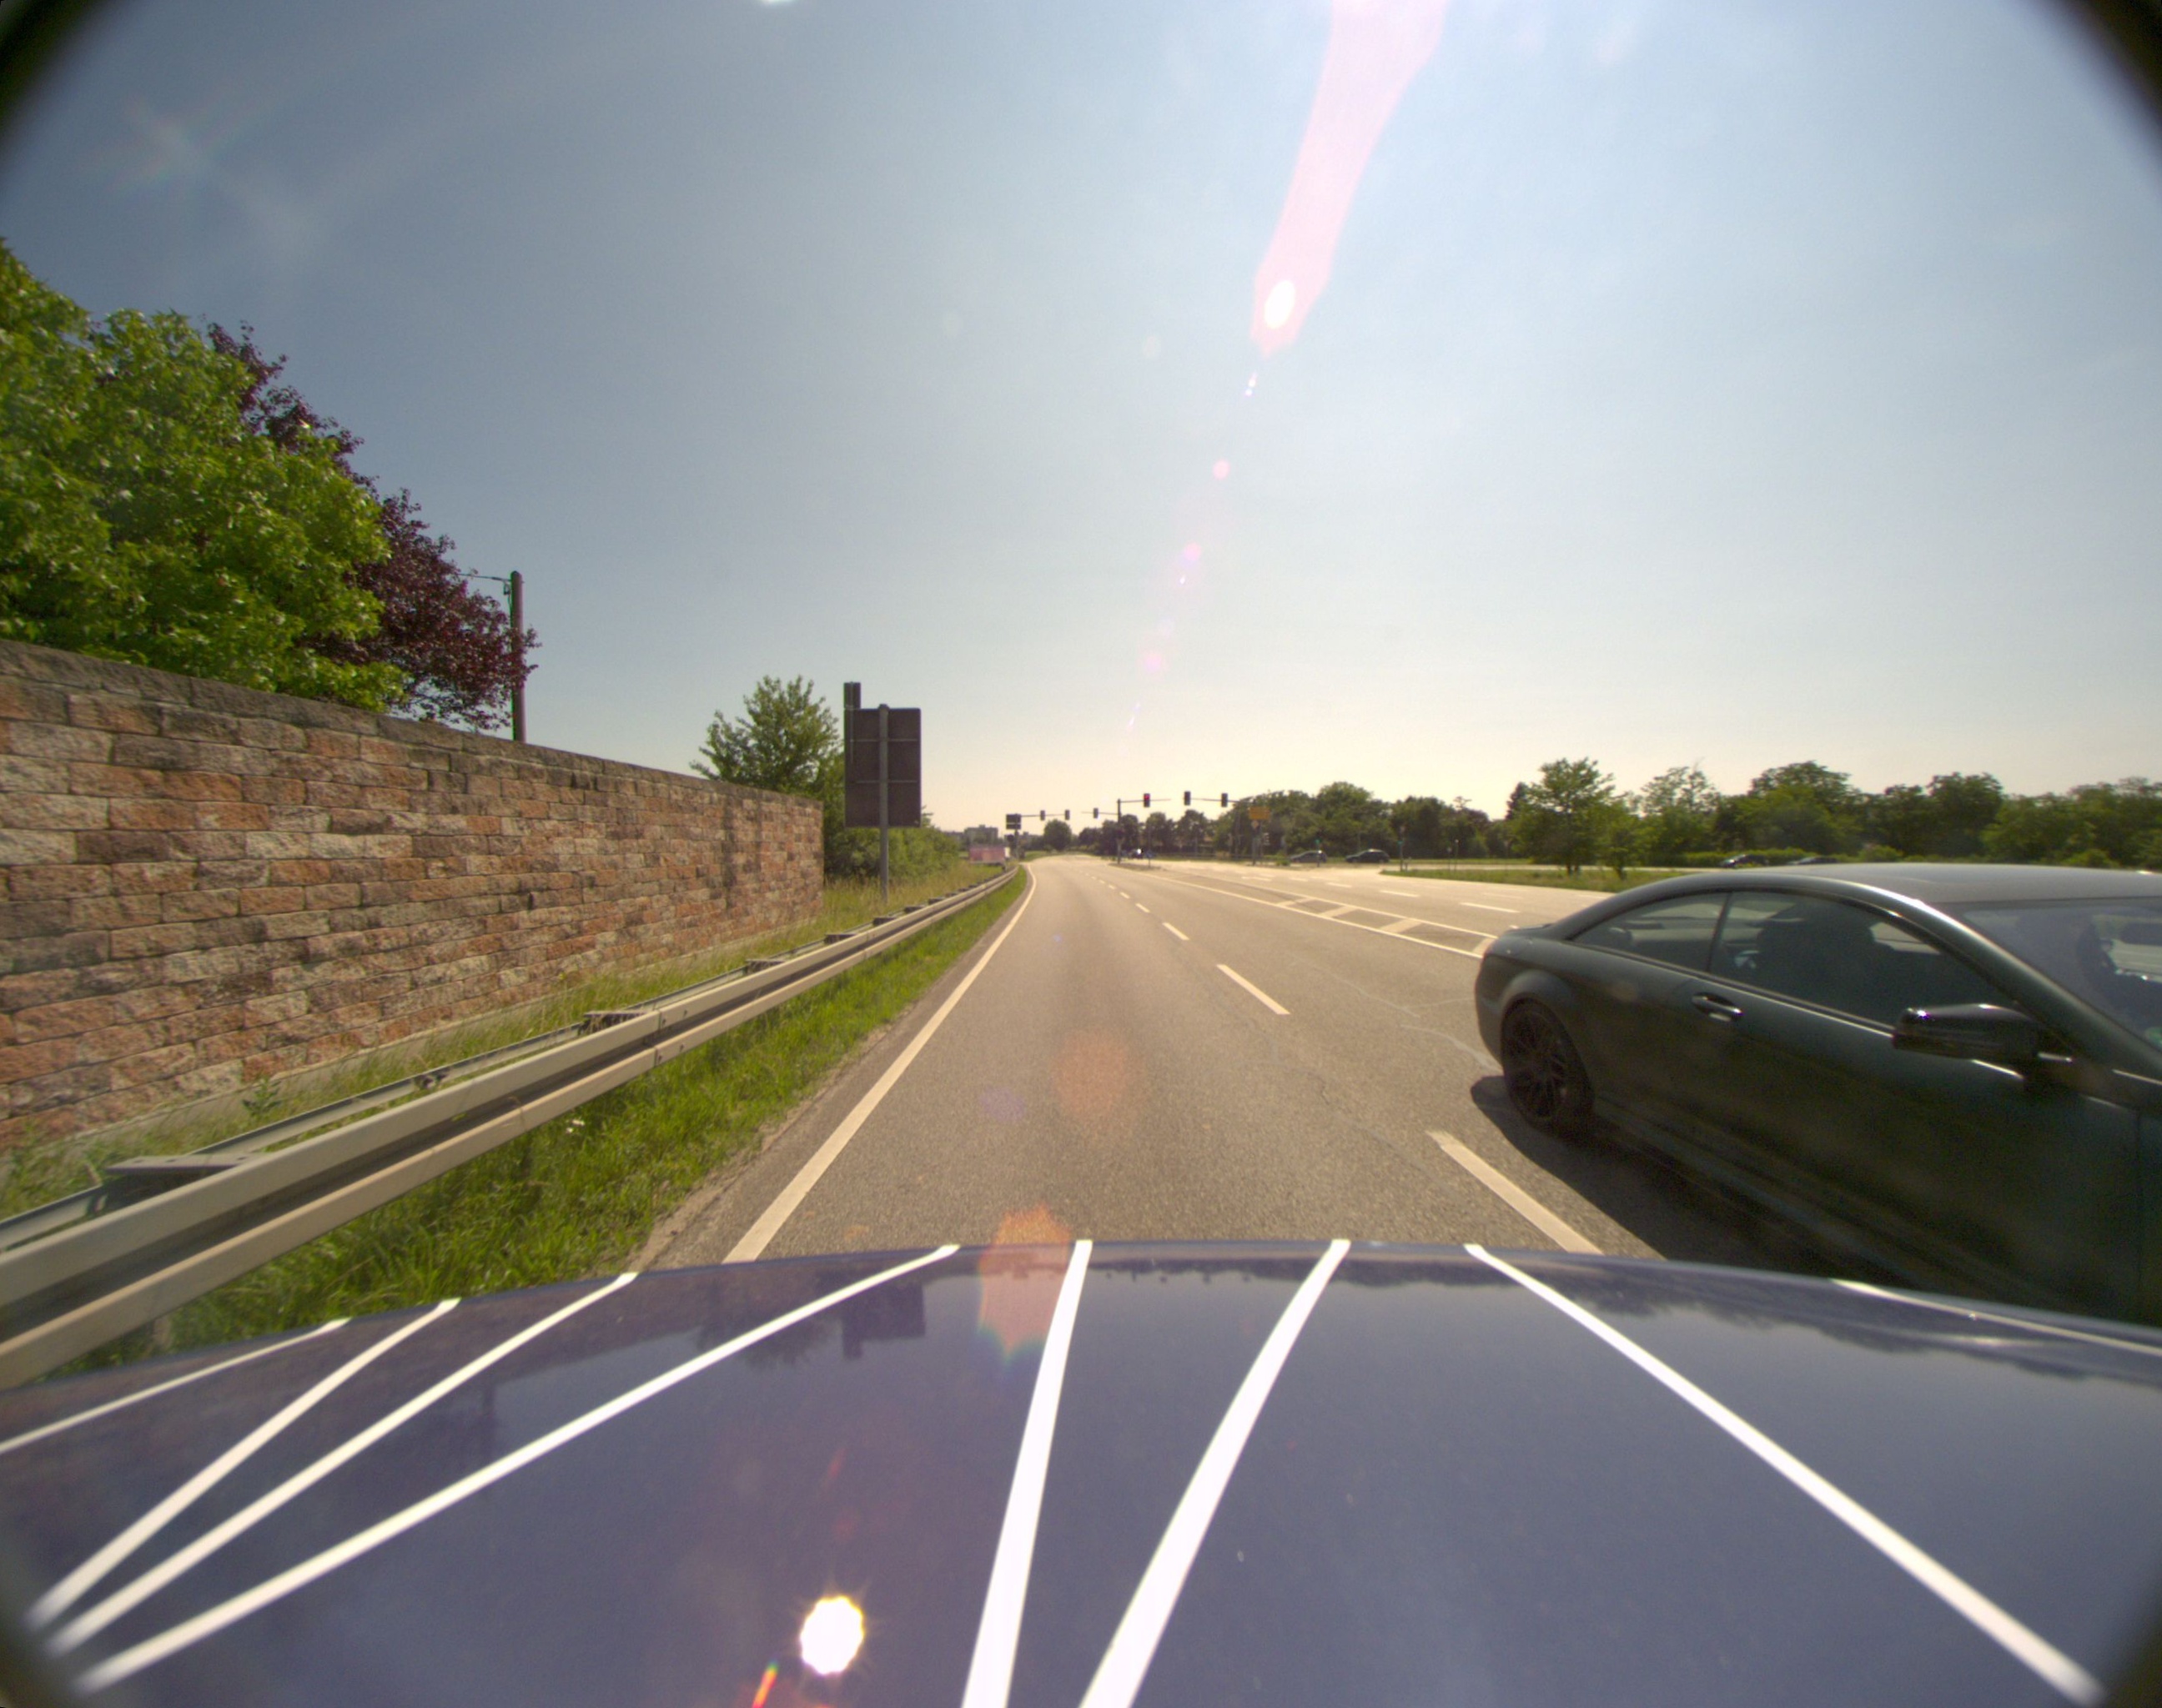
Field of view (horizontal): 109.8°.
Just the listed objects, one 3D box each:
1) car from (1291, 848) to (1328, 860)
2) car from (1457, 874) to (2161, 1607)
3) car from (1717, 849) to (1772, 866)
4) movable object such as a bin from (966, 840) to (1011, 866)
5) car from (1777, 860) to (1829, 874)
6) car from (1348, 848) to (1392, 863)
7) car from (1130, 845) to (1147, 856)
[{"bbox_3d":[25.803,0.034,86.019,3.874,1.379,1.636,0,0,11],"label":"car"},{"bbox_3d":[3.243,0.889,2.295,1.815,1.441,4.876,-1,1,0],"label":"car"},{"bbox_3d":[68.204,0.342,78.195,3.995,1.565,1.738,-1,1,6],"label":"car"},{"bbox_3d":[-8.721,-0.086,71.558,4.106,2.318,1.276,-2,2,-6],"label":"movable object such as a bin"},{"bbox_3d":[76.450,1.382,80.511,3.767,1.379,1.501,1,1,14],"label":"car"},{"bbox_3d":[32.167,0.154,84.606,4.361,1.585,1.636,1,1,13],"label":"car"},{"bbox_3d":[9.050,-0.572,119.985,1.836,1.591,4.302,1,1,-6],"label":"car"}]
